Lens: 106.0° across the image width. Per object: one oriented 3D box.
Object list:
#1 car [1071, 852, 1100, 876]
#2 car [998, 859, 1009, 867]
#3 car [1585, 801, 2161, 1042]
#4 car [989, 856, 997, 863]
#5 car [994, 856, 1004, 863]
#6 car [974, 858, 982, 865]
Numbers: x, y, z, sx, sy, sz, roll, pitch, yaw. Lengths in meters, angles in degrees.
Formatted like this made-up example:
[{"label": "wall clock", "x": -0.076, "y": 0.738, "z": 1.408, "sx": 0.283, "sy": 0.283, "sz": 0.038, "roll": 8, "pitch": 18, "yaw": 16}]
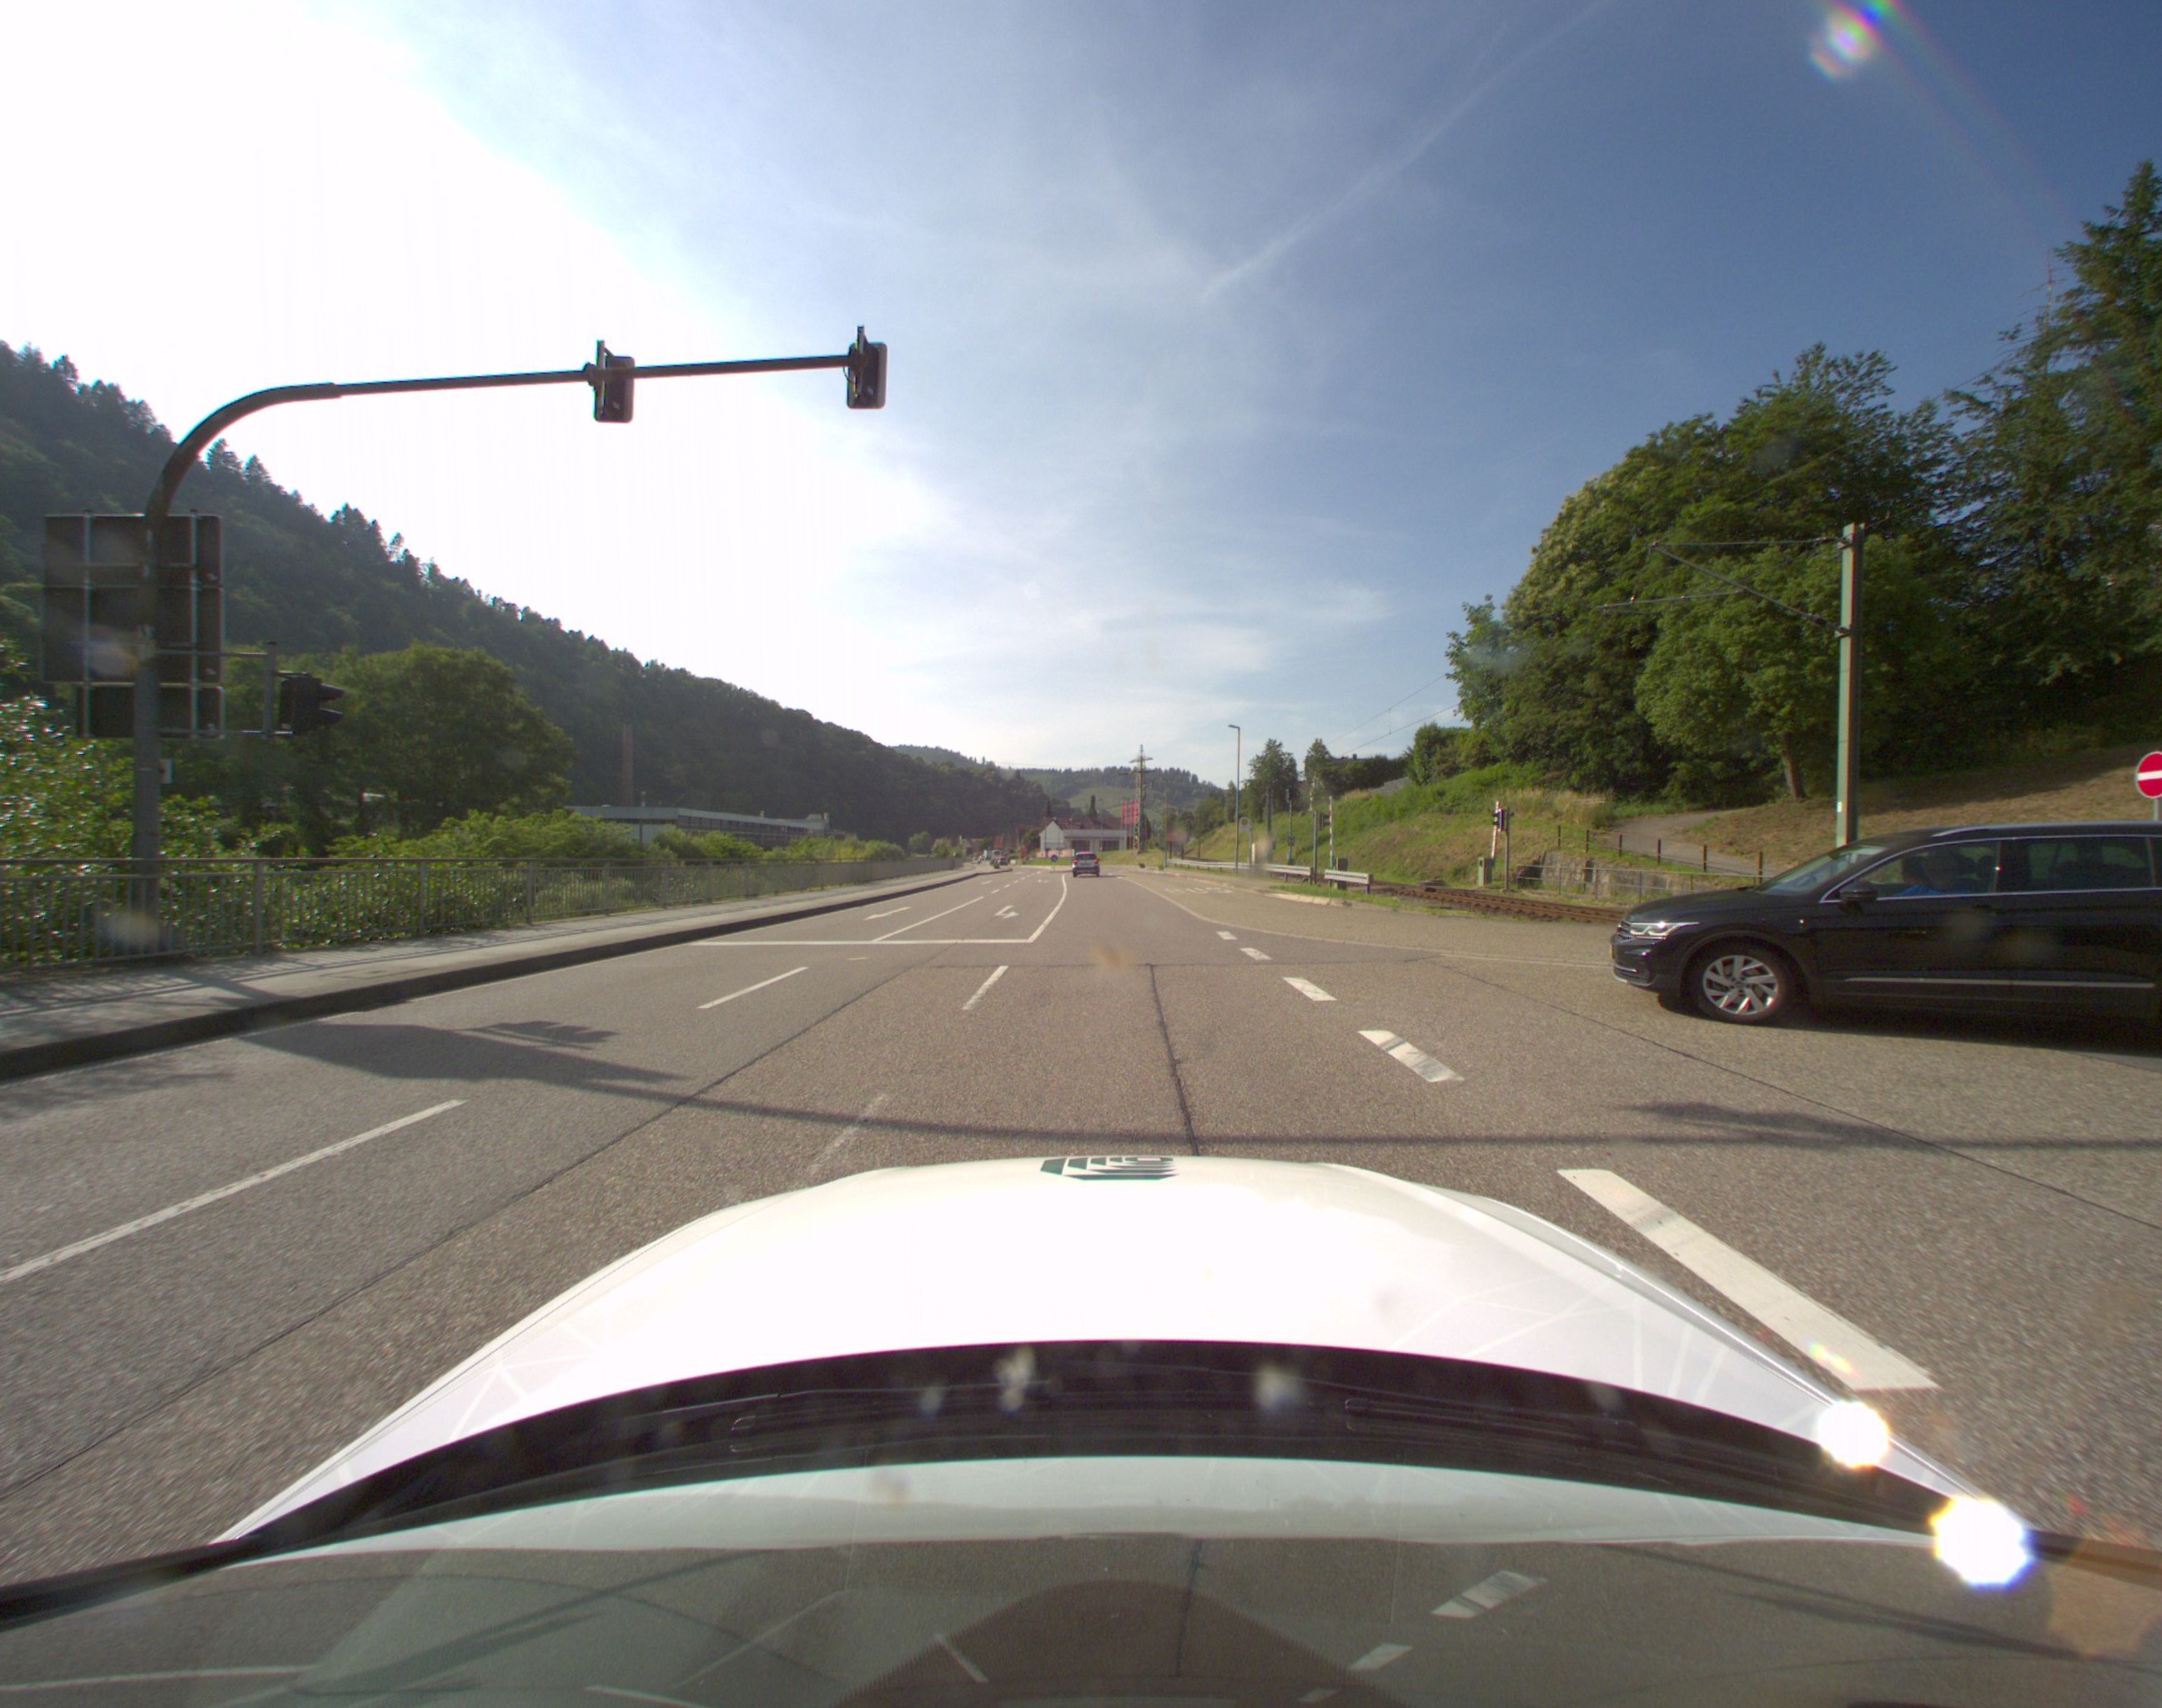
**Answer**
[{"label": "car", "x": 0.254, "y": 0.685, "z": 54.938, "sx": 1.855, "sy": 1.544, "sz": 4.371, "roll": 1, "pitch": -1, "yaw": -1}, {"label": "car", "x": -14.332, "y": 1.605, "z": 149.617, "sx": 1.457, "sy": 1.435, "sz": 2.919, "roll": 1, "pitch": 1, "yaw": -17}, {"label": "car", "x": 7.064, "y": 0.461, "z": 6.948, "sx": 4.680, "sy": 1.659, "sz": 1.943, "roll": 0, "pitch": 0, "yaw": 32}, {"label": "car", "x": -19.143, "y": 1.274, "z": 176.726, "sx": 1.236, "sy": 1.435, "sz": 2.624, "roll": -2, "pitch": 1, "yaw": -18}, {"label": "car", "x": -16.574, "y": 1.072, "z": 163.941, "sx": 1.457, "sy": 1.435, "sz": 2.918, "roll": 1, "pitch": 1, "yaw": -18}, {"label": "car", "x": -23.811, "y": 1.742, "z": 187.866, "sx": 1.665, "sy": 1.550, "sz": 3.698, "roll": 1, "pitch": 1, "yaw": -4}]
